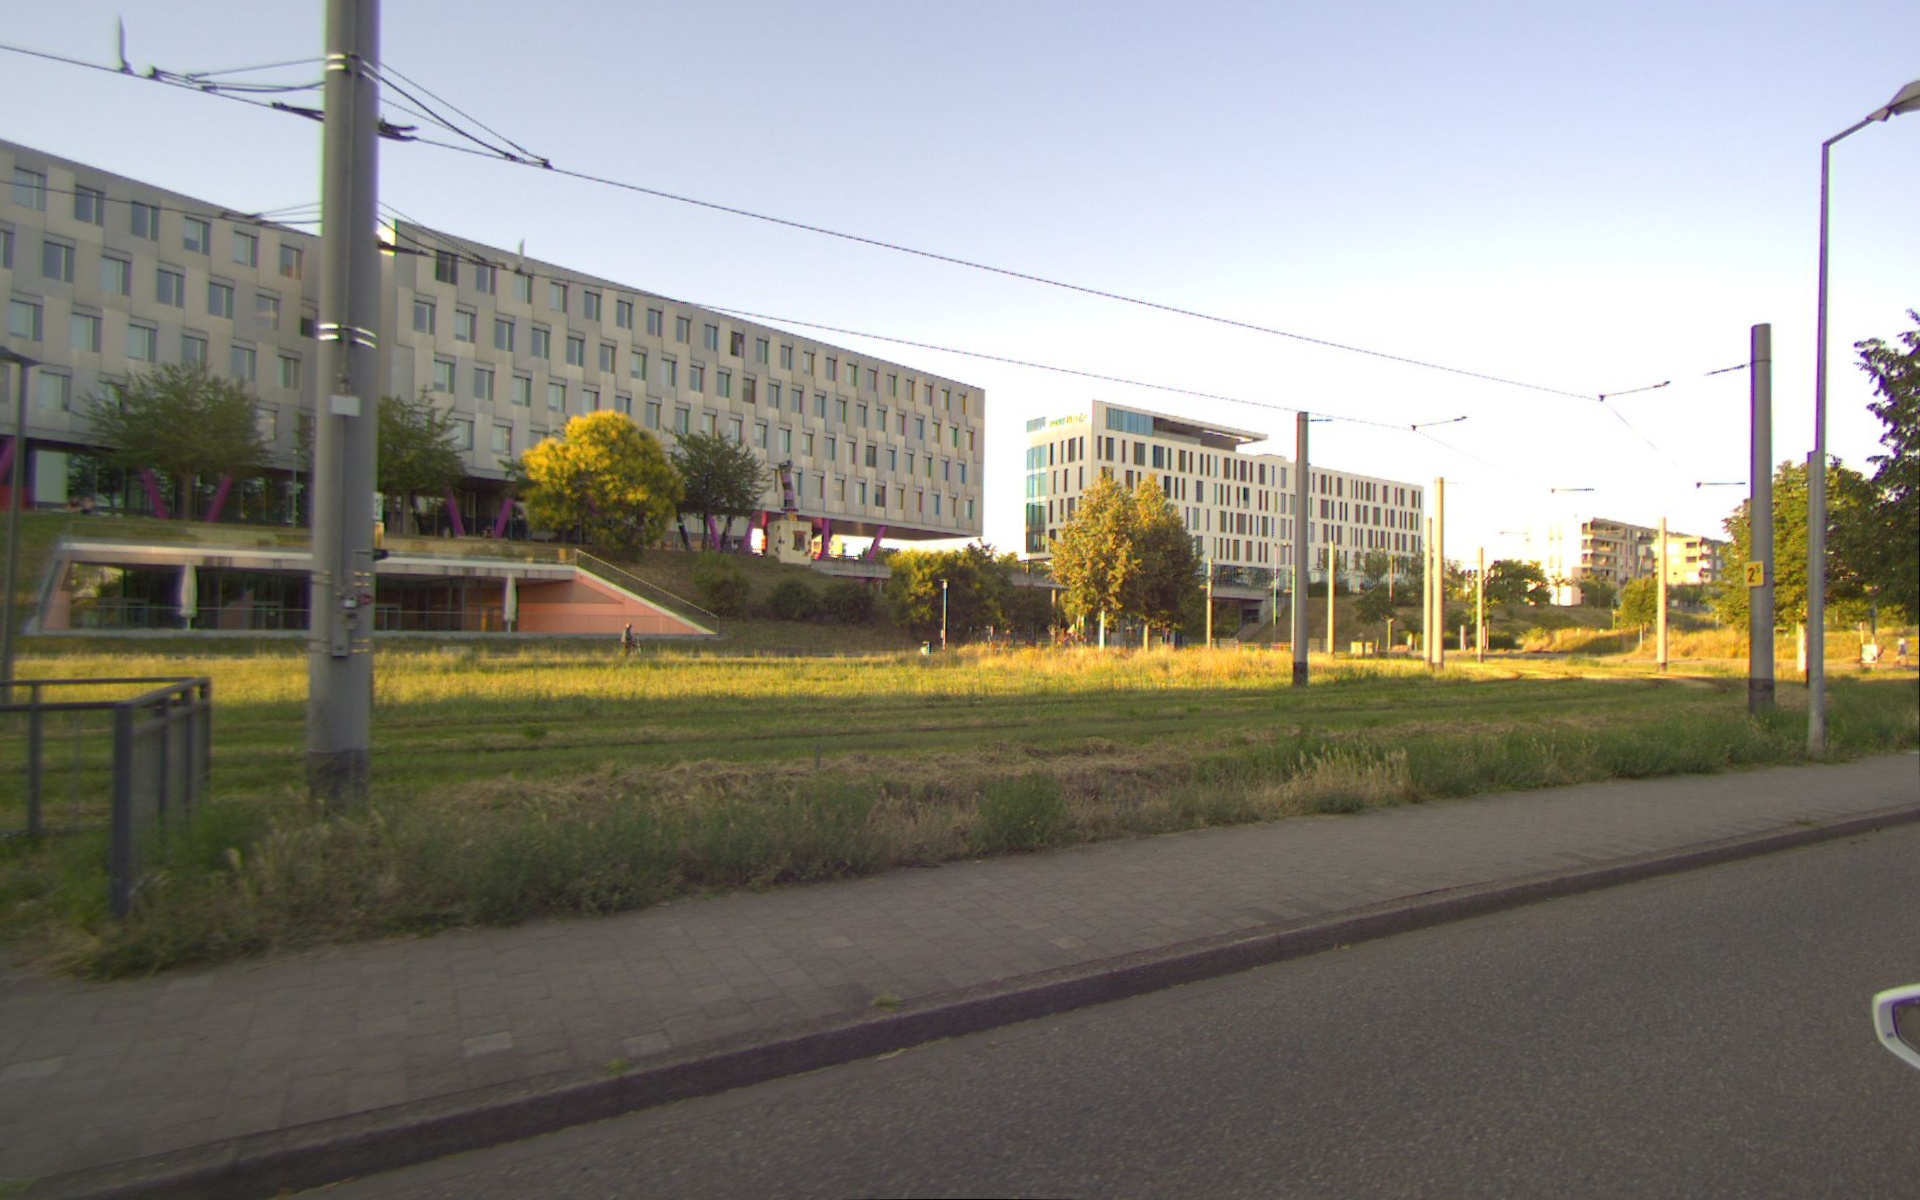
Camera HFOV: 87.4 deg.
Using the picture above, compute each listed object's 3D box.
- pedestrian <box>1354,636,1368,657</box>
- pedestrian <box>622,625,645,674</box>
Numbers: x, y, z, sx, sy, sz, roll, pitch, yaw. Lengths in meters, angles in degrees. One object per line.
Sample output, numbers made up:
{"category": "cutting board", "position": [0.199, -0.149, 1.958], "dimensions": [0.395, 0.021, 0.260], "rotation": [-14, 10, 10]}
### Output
{"category": "pedestrian", "position": [36.144, 4.187, 90.554], "dimensions": [0.803, 1.810, 0.784], "rotation": [2, -2, -27]}
{"category": "pedestrian", "position": [-14.370, 2.180, 44.235], "dimensions": [0.781, 2.110, 0.613], "rotation": [2, 0, -31]}
